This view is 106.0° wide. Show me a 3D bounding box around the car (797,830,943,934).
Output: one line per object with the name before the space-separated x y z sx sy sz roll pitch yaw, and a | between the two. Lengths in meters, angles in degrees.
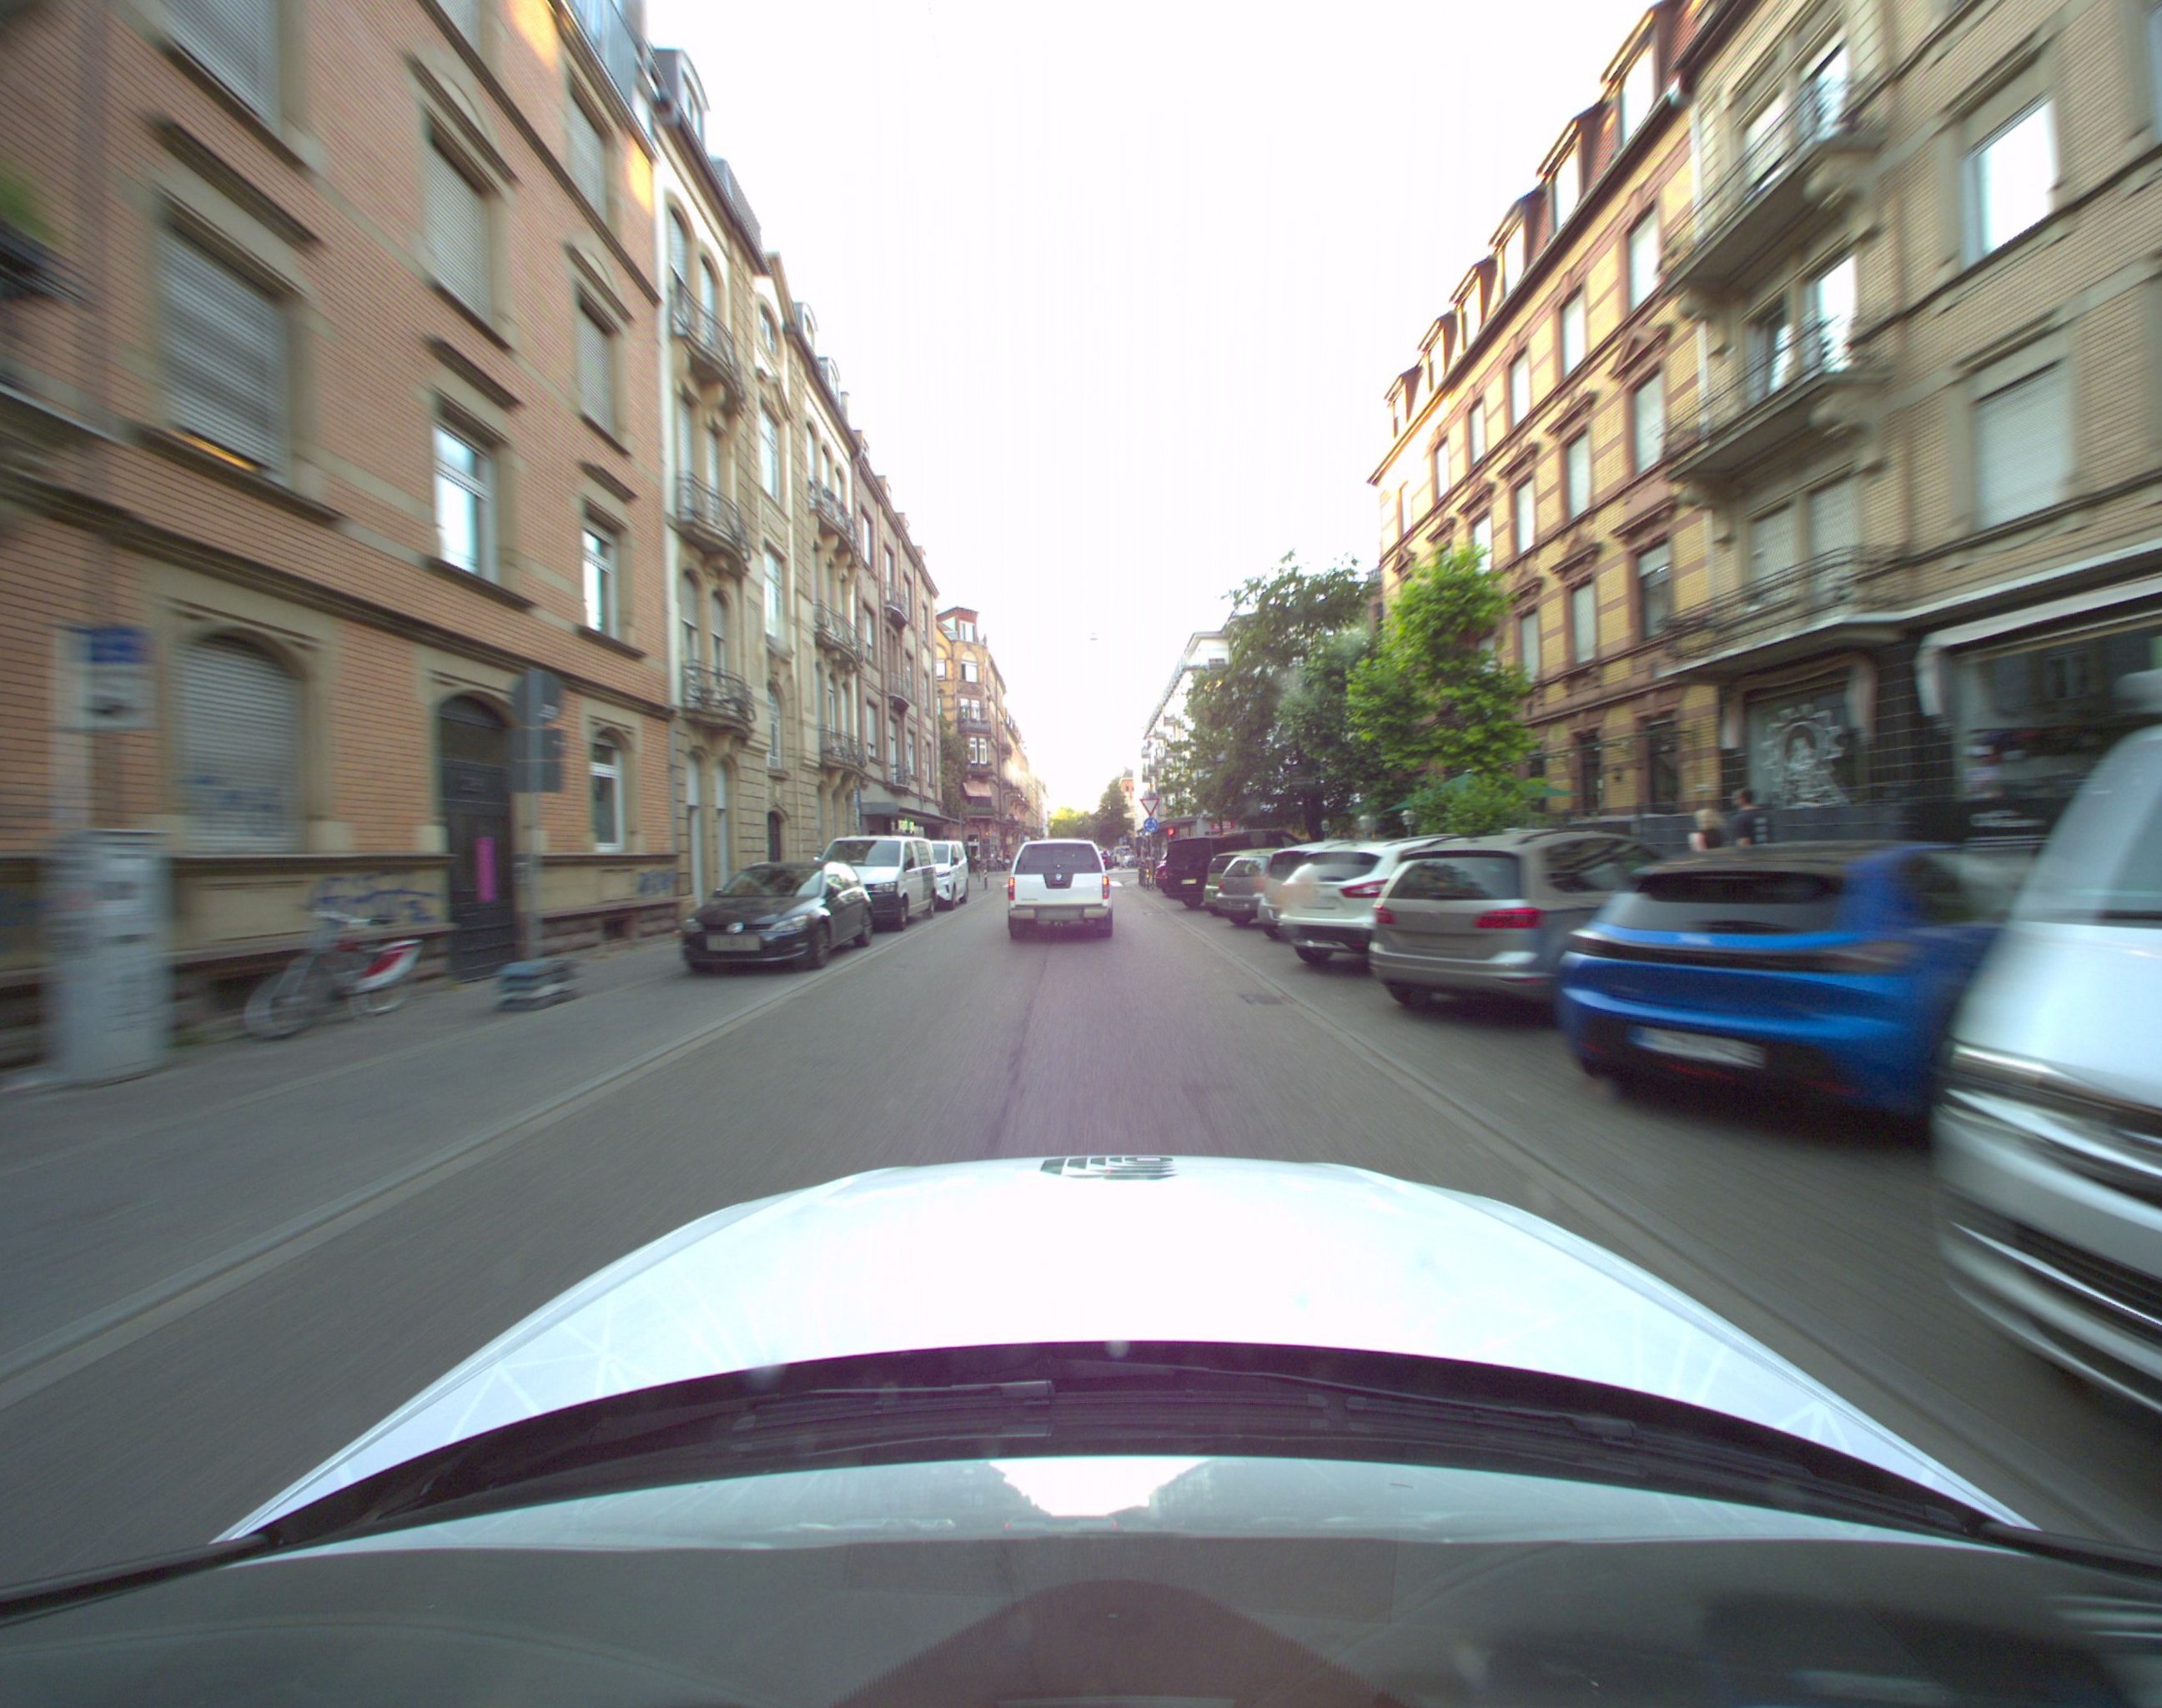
car | -4.428 0.534 17.905 1.830 1.921 4.846 -1 0 1

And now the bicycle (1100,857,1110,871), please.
bicycle | 2.042 0.848 69.378 0.834 1.171 1.937 -1 -1 3

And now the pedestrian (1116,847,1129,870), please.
pedestrian | 3.193 0.364 62.371 0.899 1.736 0.617 -1 -1 5

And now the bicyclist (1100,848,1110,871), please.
bicyclist | 2.046 0.461 69.257 0.834 1.944 0.785 -1 -1 3

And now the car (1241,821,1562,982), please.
car | 4.352 0.506 10.909 4.123 1.590 1.800 -5 1 -31

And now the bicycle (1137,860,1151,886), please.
bicycle | 2.669 0.807 34.490 0.363 1.063 1.550 0 -1 -4

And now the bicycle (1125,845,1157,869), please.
bicycle | 4.975 0.236 68.014 2.638 2.014 0.638 0 -1 0

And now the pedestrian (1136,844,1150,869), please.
pedestrian | 4.791 0.180 62.636 0.909 1.885 0.610 0 -1 -31

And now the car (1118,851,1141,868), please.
car | 4.441 0.548 75.480 1.829 1.542 3.998 0 -1 -1

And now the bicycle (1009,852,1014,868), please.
bicycle | -6.123 0.546 71.812 0.423 1.442 1.901 0 -1 -4

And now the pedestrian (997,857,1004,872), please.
pedestrian | -6.987 0.896 70.672 0.647 1.286 0.539 0 -1 -4

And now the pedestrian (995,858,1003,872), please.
pedestrian | -7.014 0.933 69.486 0.647 1.191 0.539 0 -1 -4

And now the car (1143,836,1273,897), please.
car | 4.381 0.398 27.789 4.246 1.688 1.911 -5 1 -39

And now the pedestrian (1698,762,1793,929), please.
pedestrian | 8.300 -0.099 10.195 0.621 2.014 0.656 0 -1 1

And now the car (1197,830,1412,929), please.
car | 4.573 0.452 16.507 4.124 1.551 1.800 -5 1 -32

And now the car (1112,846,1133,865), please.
car | 4.292 0.176 84.261 1.937 1.934 3.998 0 -1 -1

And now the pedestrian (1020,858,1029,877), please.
pedestrian | -5.094 1.206 73.372 0.796 1.621 0.943 0 -1 -3

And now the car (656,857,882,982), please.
car | -4.338 0.808 12.082 1.832 1.471 4.169 -1 0 -2

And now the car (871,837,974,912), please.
car | -4.512 0.548 24.017 2.104 1.921 5.022 -1 0 -2

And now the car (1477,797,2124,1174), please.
car | 4.792 0.506 5.332 4.178 1.590 1.868 -3 0 -29

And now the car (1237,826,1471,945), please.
car | 4.816 0.451 14.126 4.130 1.590 1.798 -5 1 -38

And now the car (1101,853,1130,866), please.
car | 4.937 0.785 115.595 3.976 1.750 1.839 0 -1 -2

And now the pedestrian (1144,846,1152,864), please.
pedestrian | 5.987 0.095 72.735 0.717 1.663 0.702 0 -1 0

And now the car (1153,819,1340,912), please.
car | 4.681 0.239 22.525 5.465 2.072 1.911 -5 1 -39

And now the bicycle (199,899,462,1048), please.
bicycle | -6.859 1.023 7.631 0.749 1.101 2.020 0 -1 -7

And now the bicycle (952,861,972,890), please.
bicycle | -4.890 0.860 33.486 0.469 1.142 1.786 -1 -1 3

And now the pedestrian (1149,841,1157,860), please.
pedestrian | 7.398 -0.328 83.472 0.717 1.906 0.702 0 -1 0

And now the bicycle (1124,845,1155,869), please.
bicycle | 4.935 0.244 68.828 2.638 2.014 0.638 0 -1 0

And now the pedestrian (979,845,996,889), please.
pedestrian | -3.930 0.544 34.126 0.534 1.823 0.997 -1 -1 3

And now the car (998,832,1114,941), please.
car | -0.317 0.565 16.076 1.930 1.810 5.003 -1 -1 2

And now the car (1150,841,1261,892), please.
car | 4.792 0.436 31.131 4.064 1.627 1.676 -4 1 -32

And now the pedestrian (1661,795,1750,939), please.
pedestrian | 7.564 0.152 9.897 0.619 1.681 0.658 -1 -1 13

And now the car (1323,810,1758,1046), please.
car | 4.590 0.511 7.993 4.181 1.590 1.867 -5 1 -31

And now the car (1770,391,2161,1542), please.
car | 4.575 0.143 2.456 4.949 2.362 1.983 -3 0 -27

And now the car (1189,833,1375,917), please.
car | 4.776 0.452 19.189 4.124 1.551 1.800 -5 1 -32
